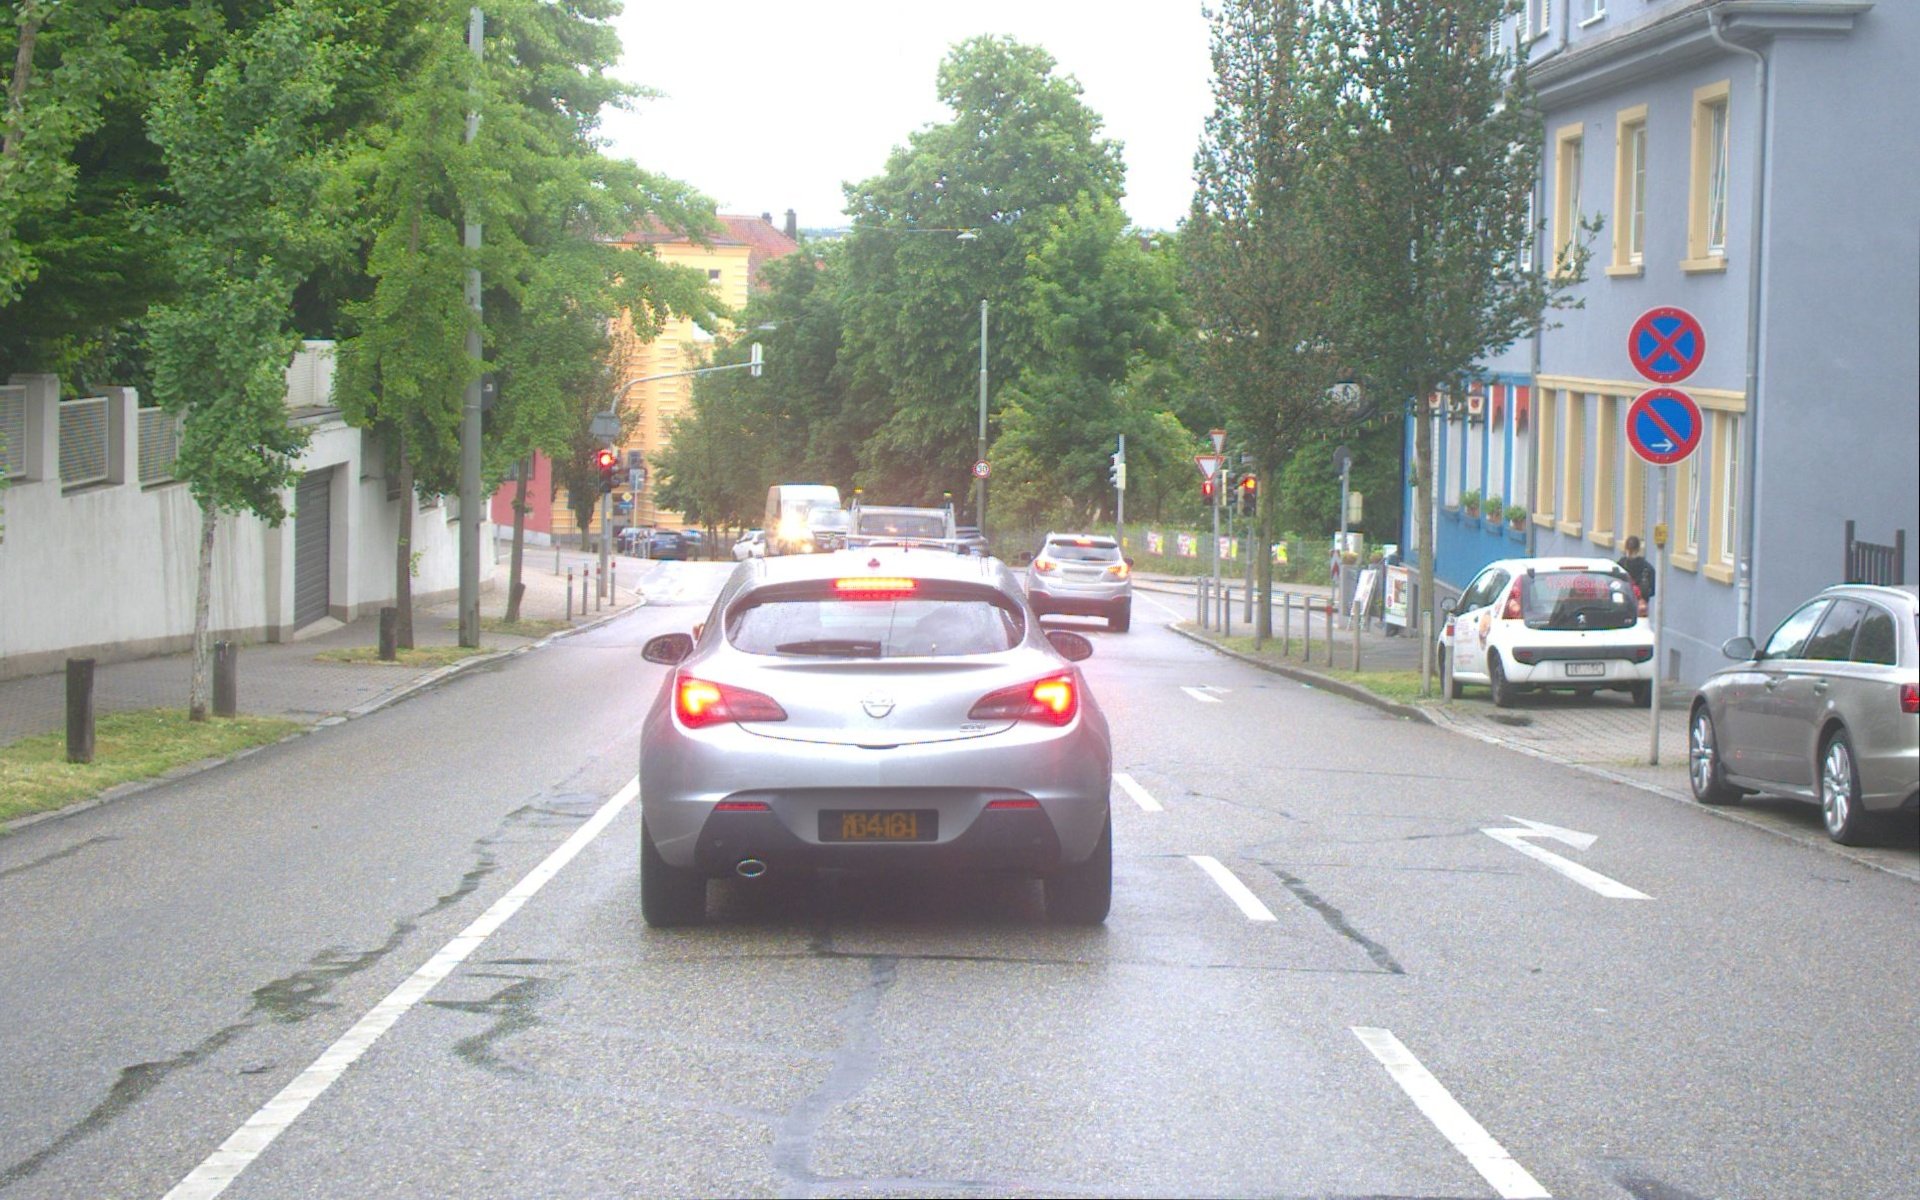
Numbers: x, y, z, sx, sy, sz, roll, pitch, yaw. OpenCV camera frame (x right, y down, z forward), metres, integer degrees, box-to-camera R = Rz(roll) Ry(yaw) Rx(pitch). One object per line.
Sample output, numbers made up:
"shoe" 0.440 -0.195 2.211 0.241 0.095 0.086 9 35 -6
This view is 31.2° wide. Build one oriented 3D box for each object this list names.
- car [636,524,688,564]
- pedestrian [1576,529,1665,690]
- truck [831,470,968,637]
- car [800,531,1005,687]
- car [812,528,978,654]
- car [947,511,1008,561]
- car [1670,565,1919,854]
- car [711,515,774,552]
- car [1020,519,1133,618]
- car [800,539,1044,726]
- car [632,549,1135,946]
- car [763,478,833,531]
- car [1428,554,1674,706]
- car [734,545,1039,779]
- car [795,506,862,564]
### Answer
"car" -12.756 -2.394 147.252 1.722 1.632 3.881 2 0 -12
"pedestrian" 7.249 0.097 37.755 0.783 1.723 0.651 2 1 -1
"truck" -0.978 -0.746 53.500 1.962 2.420 4.936 2 1 -2
"car" -0.633 0.045 35.848 1.962 1.443 4.306 2 1 -2
"car" -0.854 -0.154 43.507 1.962 1.443 4.306 2 1 -2
"car" 0.571 -2.148 115.309 1.722 1.632 3.880 0 1 -4
"car" 5.730 0.555 20.250 1.962 1.443 4.527 0 1 -3
"car" -9.243 -2.818 145.716 1.722 1.538 3.881 -1 1 -18
"car" 2.053 -0.588 61.544 1.722 1.708 3.880 0 1 -3
"car" -0.385 0.231 30.470 1.962 1.443 4.306 2 1 -2
"car" -0.367 0.520 14.615 1.837 1.429 3.880 1 1 -3
"car" -5.039 -2.950 106.621 1.722 1.632 3.881 0 1 -9
"car" 5.971 0.263 35.130 1.722 1.443 3.880 0 1 -2
"car" -0.553 0.372 24.749 1.962 1.443 4.306 2 1 -2
"car" -3.774 -1.885 99.002 1.870 1.632 3.880 0 1 -2
